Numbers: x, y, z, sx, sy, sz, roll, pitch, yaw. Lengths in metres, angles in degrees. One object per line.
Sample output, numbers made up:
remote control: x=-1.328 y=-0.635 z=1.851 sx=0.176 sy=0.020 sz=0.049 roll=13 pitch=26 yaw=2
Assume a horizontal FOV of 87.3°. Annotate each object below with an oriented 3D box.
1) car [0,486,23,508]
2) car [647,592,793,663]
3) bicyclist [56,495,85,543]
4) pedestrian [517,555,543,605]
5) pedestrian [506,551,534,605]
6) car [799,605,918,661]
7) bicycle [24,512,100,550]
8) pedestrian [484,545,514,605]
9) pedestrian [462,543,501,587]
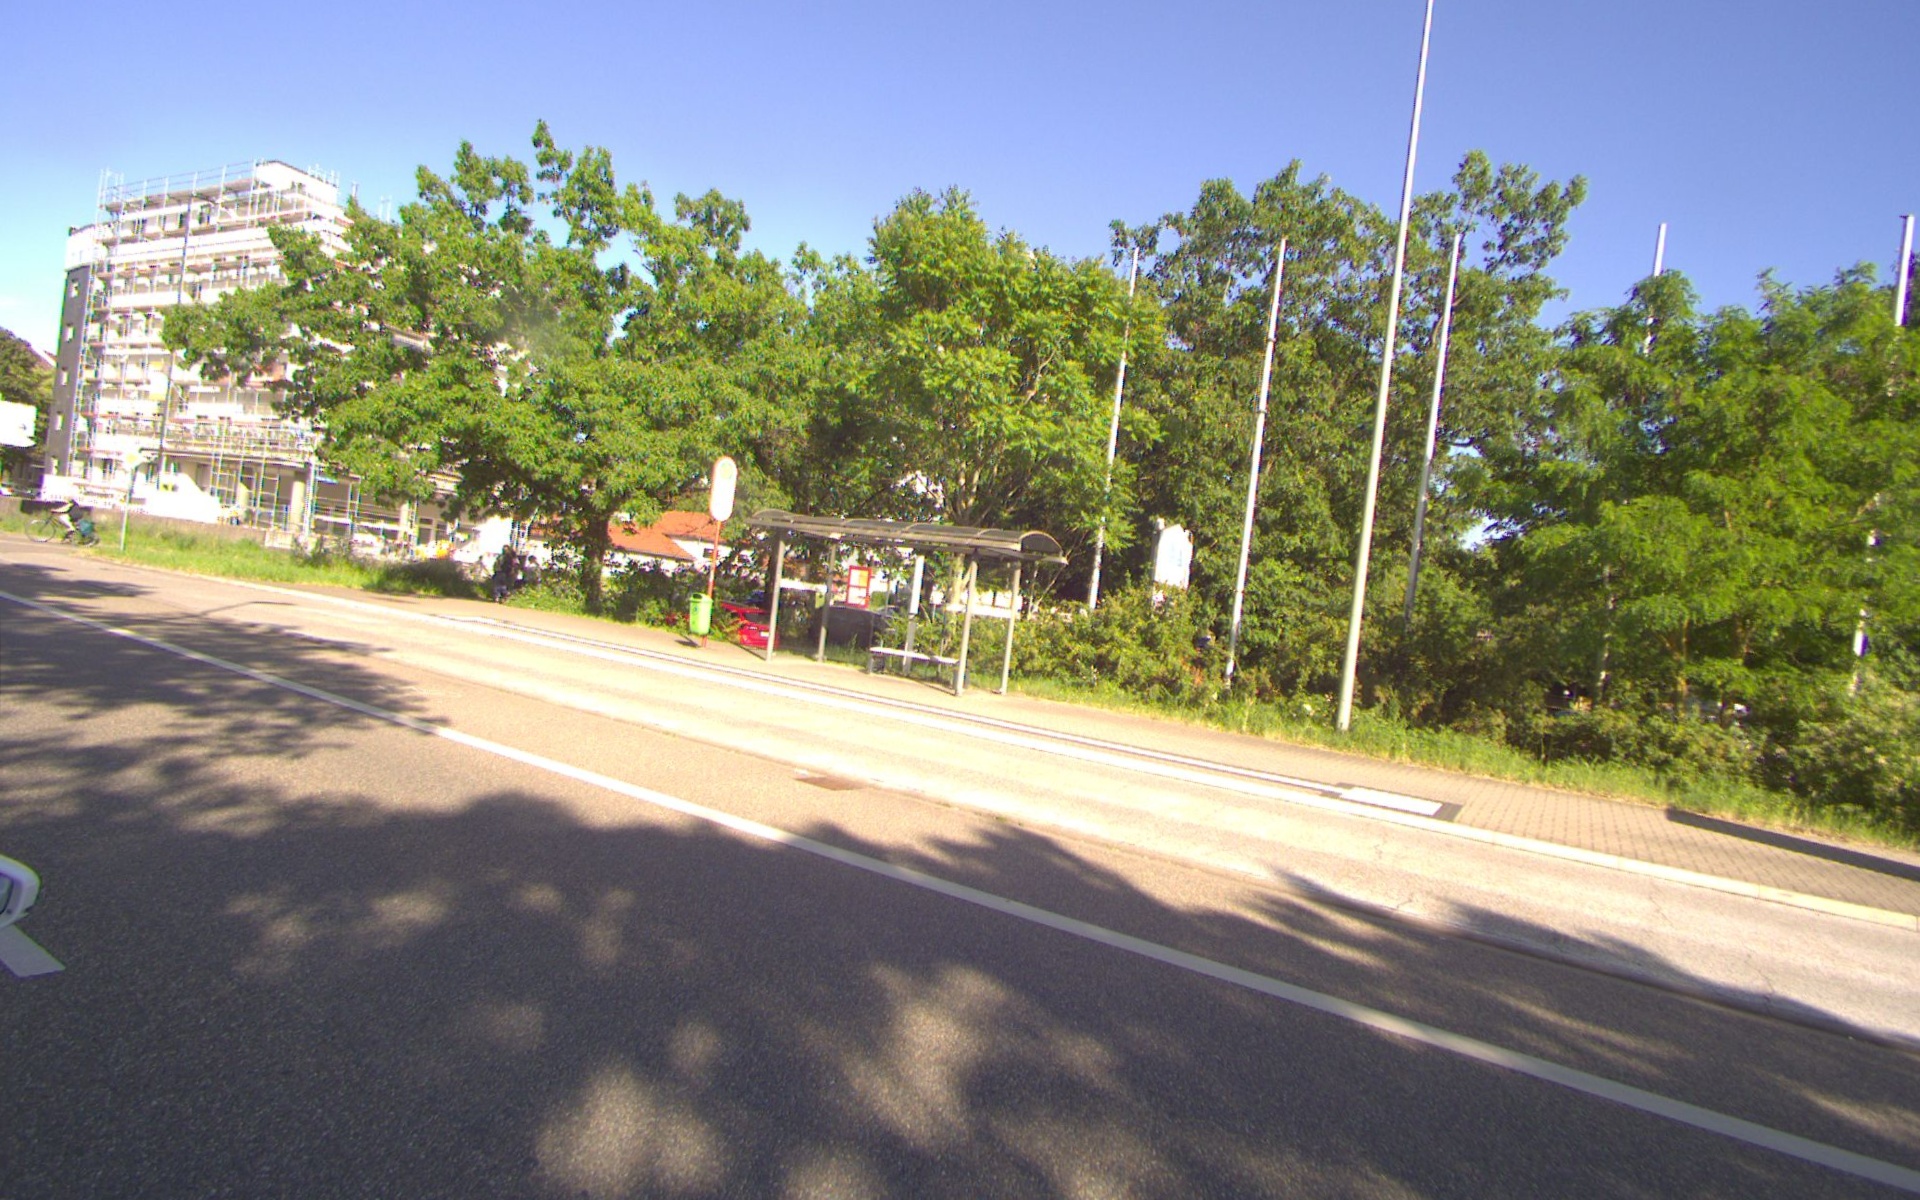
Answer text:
car: x=-66.609 y=-7.219 z=70.167 sx=1.521 sy=1.330 sz=3.250 roll=7 pitch=0 yaw=-40
car: x=-6.875 y=0.793 z=28.750 sx=3.680 sy=1.504 sz=1.755 roll=7 pitch=0 yaw=28
bicyclist: x=-29.333 y=-2.667 z=33.174 sx=0.582 sy=1.511 sz=0.543 roll=7 pitch=1 yaw=-43
pedestrian: x=-13.405 y=-0.634 z=31.337 sx=0.517 sy=1.465 sz=0.587 roll=7 pitch=1 yaw=-32
pedestrian: x=-12.778 y=-0.644 z=29.195 sx=0.517 sy=1.465 sz=0.587 roll=7 pitch=1 yaw=-32
car: x=-3.587 y=1.180 z=35.983 sx=3.674 sy=1.504 sz=1.914 roll=7 pitch=0 yaw=13
bicycle: x=-29.498 y=-2.261 z=33.067 sx=1.784 sy=0.956 sz=0.553 roll=8 pitch=0 yaw=-44
pedestrian: x=-13.039 y=-0.703 z=28.446 sx=0.517 sy=1.632 sz=0.587 roll=7 pitch=1 yaw=-32
pedestrian: x=-20.364 y=-1.486 z=42.830 sx=0.969 sy=1.674 sz=0.891 roll=7 pitch=0 yaw=20
